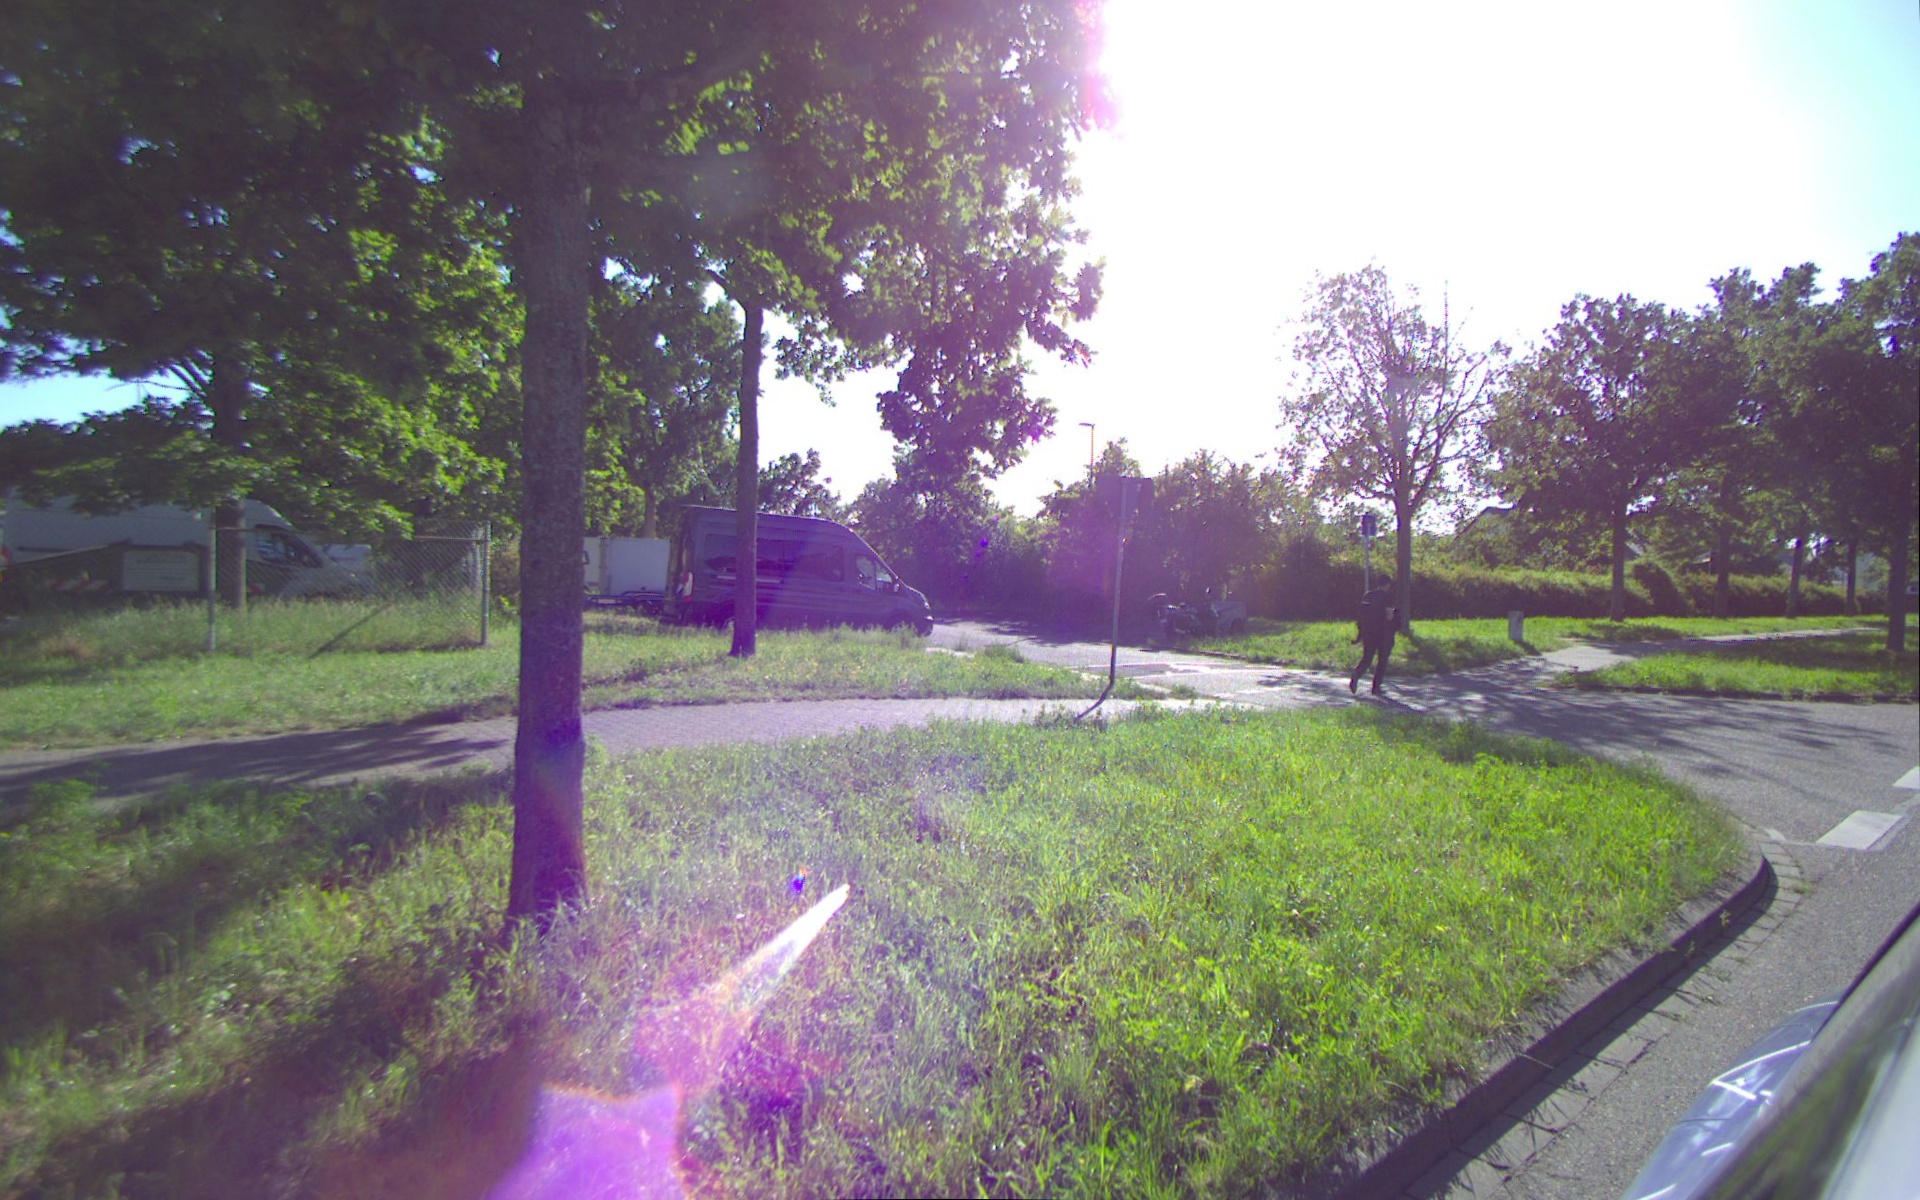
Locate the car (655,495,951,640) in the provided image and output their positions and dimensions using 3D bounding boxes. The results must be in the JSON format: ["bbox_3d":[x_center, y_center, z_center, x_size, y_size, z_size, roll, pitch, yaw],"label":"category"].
[{"bbox_3d":[-3.307,-0.580,21.812,5.850,2.599,2.094,4,-2,-29],"label":"car"}]

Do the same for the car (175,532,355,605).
[{"bbox_3d":[-18.854,-0.842,27.665,3.922,1.845,2.002,1,2,-33],"label":"car"}]

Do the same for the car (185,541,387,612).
[{"bbox_3d":[-17.012,-0.596,25.762,3.915,1.660,1.845,1,2,-19],"label":"car"}]

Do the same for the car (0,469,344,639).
[{"bbox_3d":[-14.067,-0.766,18.246,4.765,2.676,2.165,0,2,-41],"label":"car"}]

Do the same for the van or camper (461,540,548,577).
[{"bbox_3d":[-32.240,-2.927,71.654,5.478,2.451,2.191,0,2,-28],"label":"van or camper"}]

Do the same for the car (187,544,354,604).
[{"bbox_3d":[-20.047,-0.747,29.607,3.922,1.612,2.002,1,2,-33],"label":"car"}]

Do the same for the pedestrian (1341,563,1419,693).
[{"bbox_3d":[6.197,0.389,14.930,0.852,1.834,0.727,0,2,-41],"label":"pedestrian"}]

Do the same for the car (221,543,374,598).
[{"bbox_3d":[-20.807,-0.923,31.918,3.922,1.612,2.002,1,2,-33],"label":"car"}]

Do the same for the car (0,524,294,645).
[{"bbox_3d":[-12.720,-0.258,15.929,3.533,1.685,2.010,0,2,-40],"label":"car"}]

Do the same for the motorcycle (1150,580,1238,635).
[{"bbox_3d":[6.086,0.168,26.272,2.359,1.246,0.666,-4,4,-29],"label":"motorcycle"}]

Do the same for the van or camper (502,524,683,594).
[{"bbox_3d":[-14.845,-1.598,41.035,6.640,2.606,2.191,0,2,-28],"label":"van or camper"}]

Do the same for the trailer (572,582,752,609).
[{"bbox_3d":[-8.780,-0.129,29.827,4.724,0.659,2.239,0,2,-28],"label":"trailer"}]

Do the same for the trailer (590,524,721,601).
[{"bbox_3d":[-9.913,-1.193,32.938,3.712,2.336,2.199,0,2,-28],"label":"trailer"}]

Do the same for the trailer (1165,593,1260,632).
[{"bbox_3d":[7.018,0.329,28.147,2.013,0.878,1.586,-4,4,-28],"label":"trailer"}]
